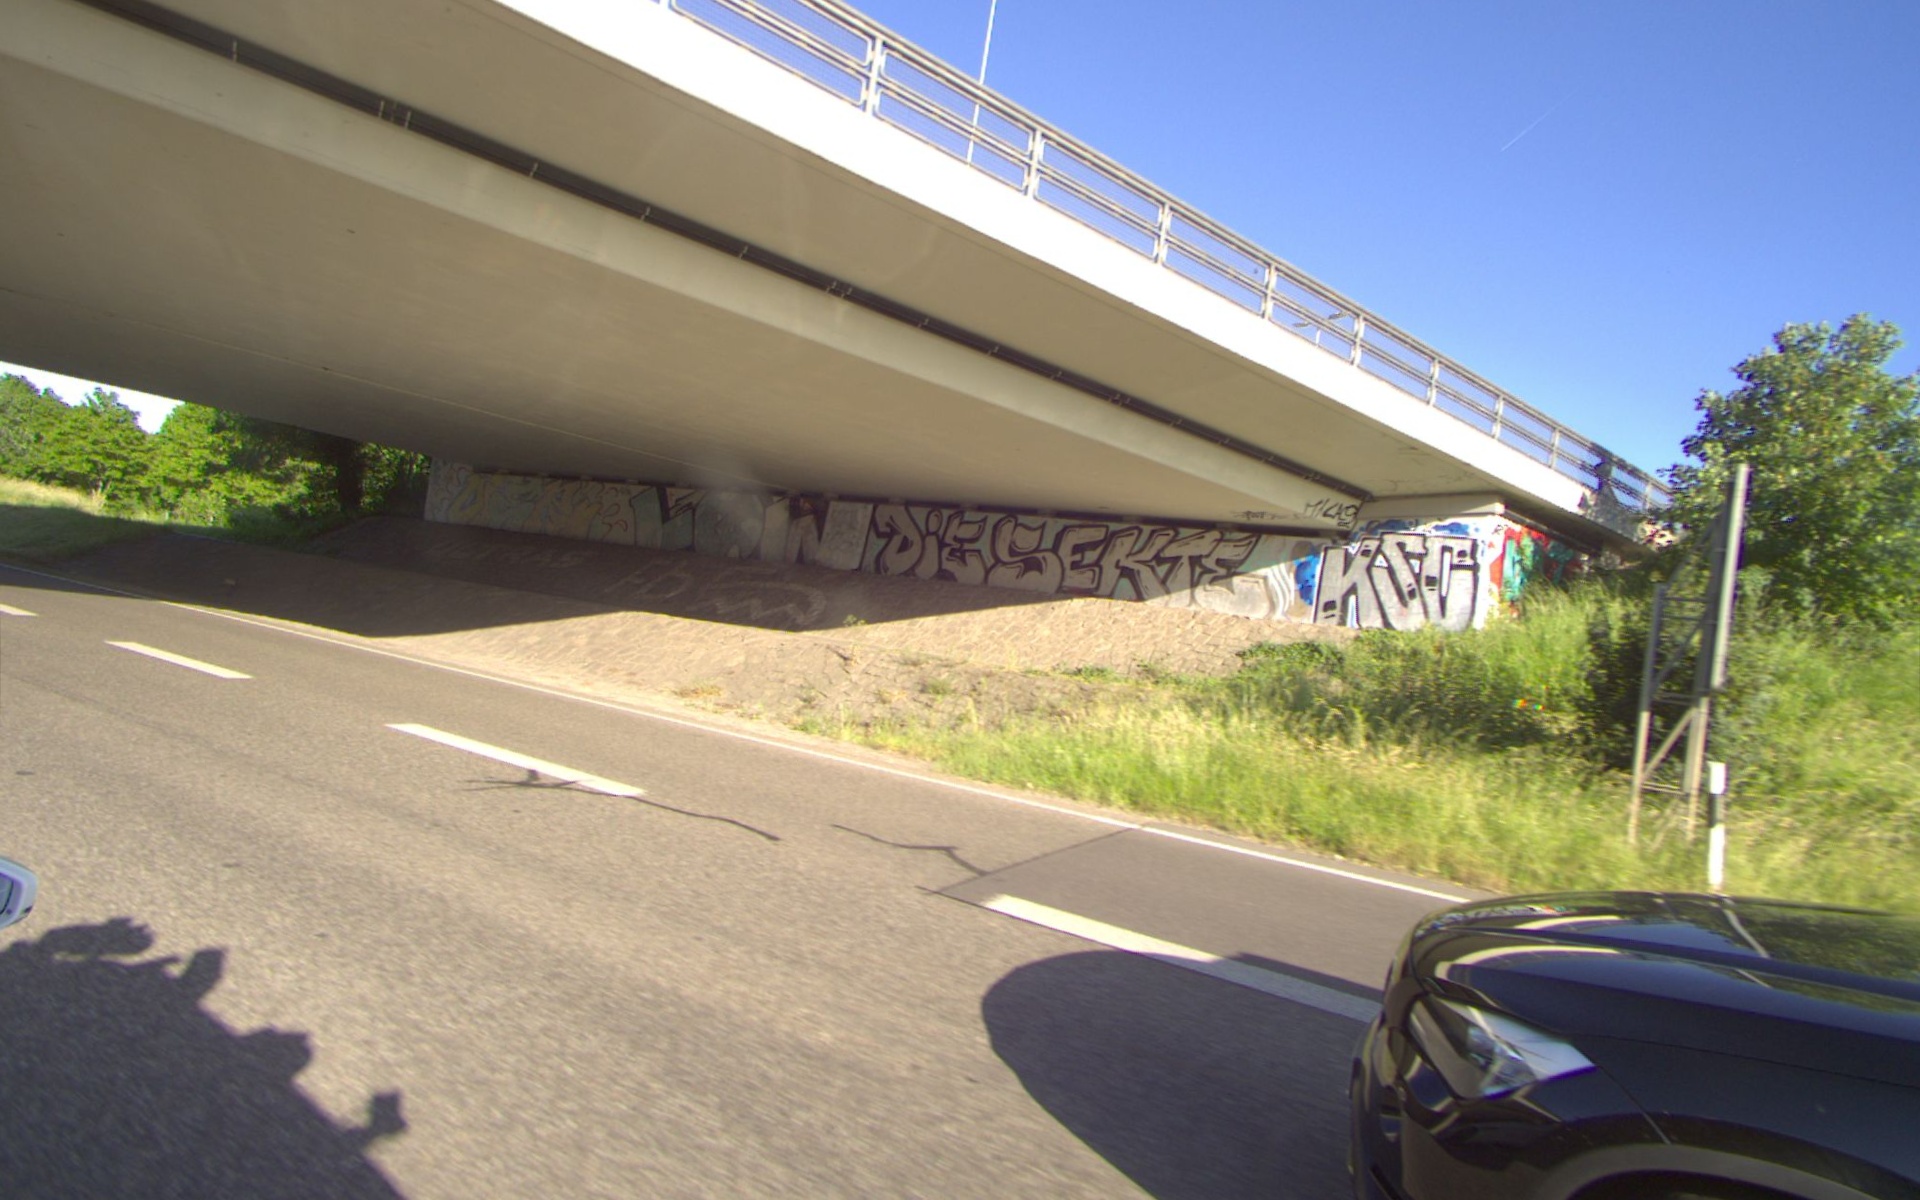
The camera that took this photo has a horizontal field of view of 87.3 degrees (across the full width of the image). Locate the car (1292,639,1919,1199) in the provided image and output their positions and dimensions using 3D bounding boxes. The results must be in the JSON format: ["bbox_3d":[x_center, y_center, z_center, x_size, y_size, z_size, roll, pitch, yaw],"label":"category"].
[{"bbox_3d":[3.070,1.120,1.615,4.504,1.524,1.701,6,-1,32],"label":"car"}]

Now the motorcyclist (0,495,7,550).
[{"bbox_3d":[-19.141,-1.372,19.316,1.075,1.464,0.818,7,-1,29],"label":"motorcyclist"}]

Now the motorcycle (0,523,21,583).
[{"bbox_3d":[-19.210,-1.031,19.323,2.787,1.082,0.818,6,-1,29],"label":"motorcycle"}]
